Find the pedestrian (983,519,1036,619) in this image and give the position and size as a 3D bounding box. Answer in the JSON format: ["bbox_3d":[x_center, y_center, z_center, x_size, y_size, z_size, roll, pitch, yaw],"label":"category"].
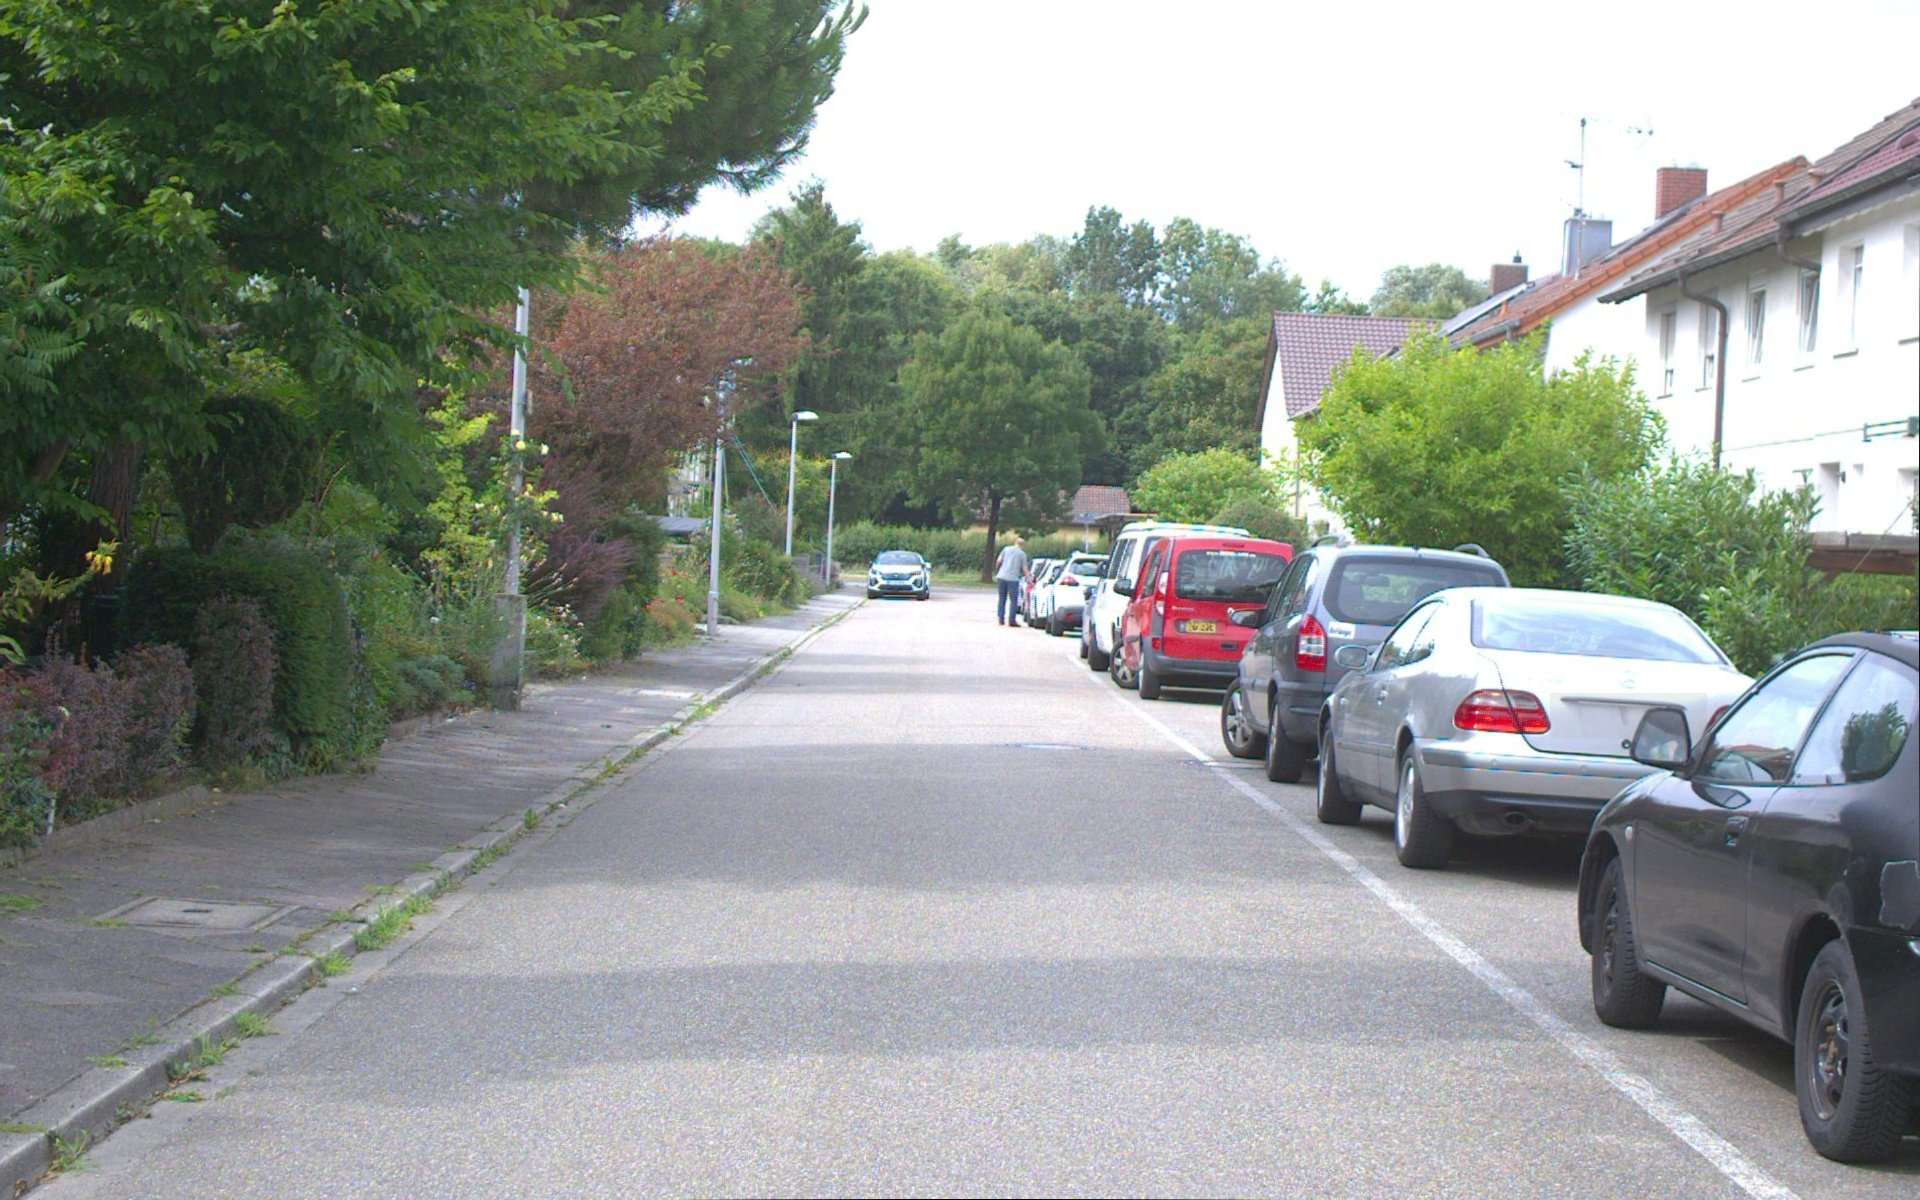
[{"bbox_3d":[1.010,-0.636,70.215,0.912,2.007,0.951,2,1,-5],"label":"pedestrian"}]

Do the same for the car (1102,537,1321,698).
[{"bbox_3d":[2.756,0.146,38.594,1.810,1.645,4.411,2,1,-4],"label":"car"}]

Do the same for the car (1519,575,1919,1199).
[{"bbox_3d":[2.960,0.700,10.120,1.732,1.423,4.126,2,1,-2],"label":"car"}]

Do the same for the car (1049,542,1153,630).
[{"bbox_3d":[2.561,-0.283,63.148,1.713,1.538,3.974,1,1,0],"label":"car"}]

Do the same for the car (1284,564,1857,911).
[{"bbox_3d":[2.996,0.601,17.986,1.867,1.402,4.768,4,1,-3],"label":"car"}]

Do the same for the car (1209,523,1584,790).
[{"bbox_3d":[2.979,0.322,24.423,1.867,1.648,4.465,2,1,-2],"label":"car"}]

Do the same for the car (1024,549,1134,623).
[{"bbox_3d":[2.411,-0.309,70.799,1.838,1.408,4.637,2,1,-3],"label":"car"}]

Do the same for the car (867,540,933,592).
[{"bbox_3d":[-1.865,-1.090,108.068,1.934,1.551,4.634,2,1,0],"label":"car"}]

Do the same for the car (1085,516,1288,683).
[{"bbox_3d":[2.808,-0.046,43.592,2.020,1.940,4.748,2,1,-2],"label":"car"}]

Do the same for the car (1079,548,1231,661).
[{"bbox_3d":[2.714,0.032,48.698,1.900,1.454,4.129,2,1,0],"label":"car"}]
